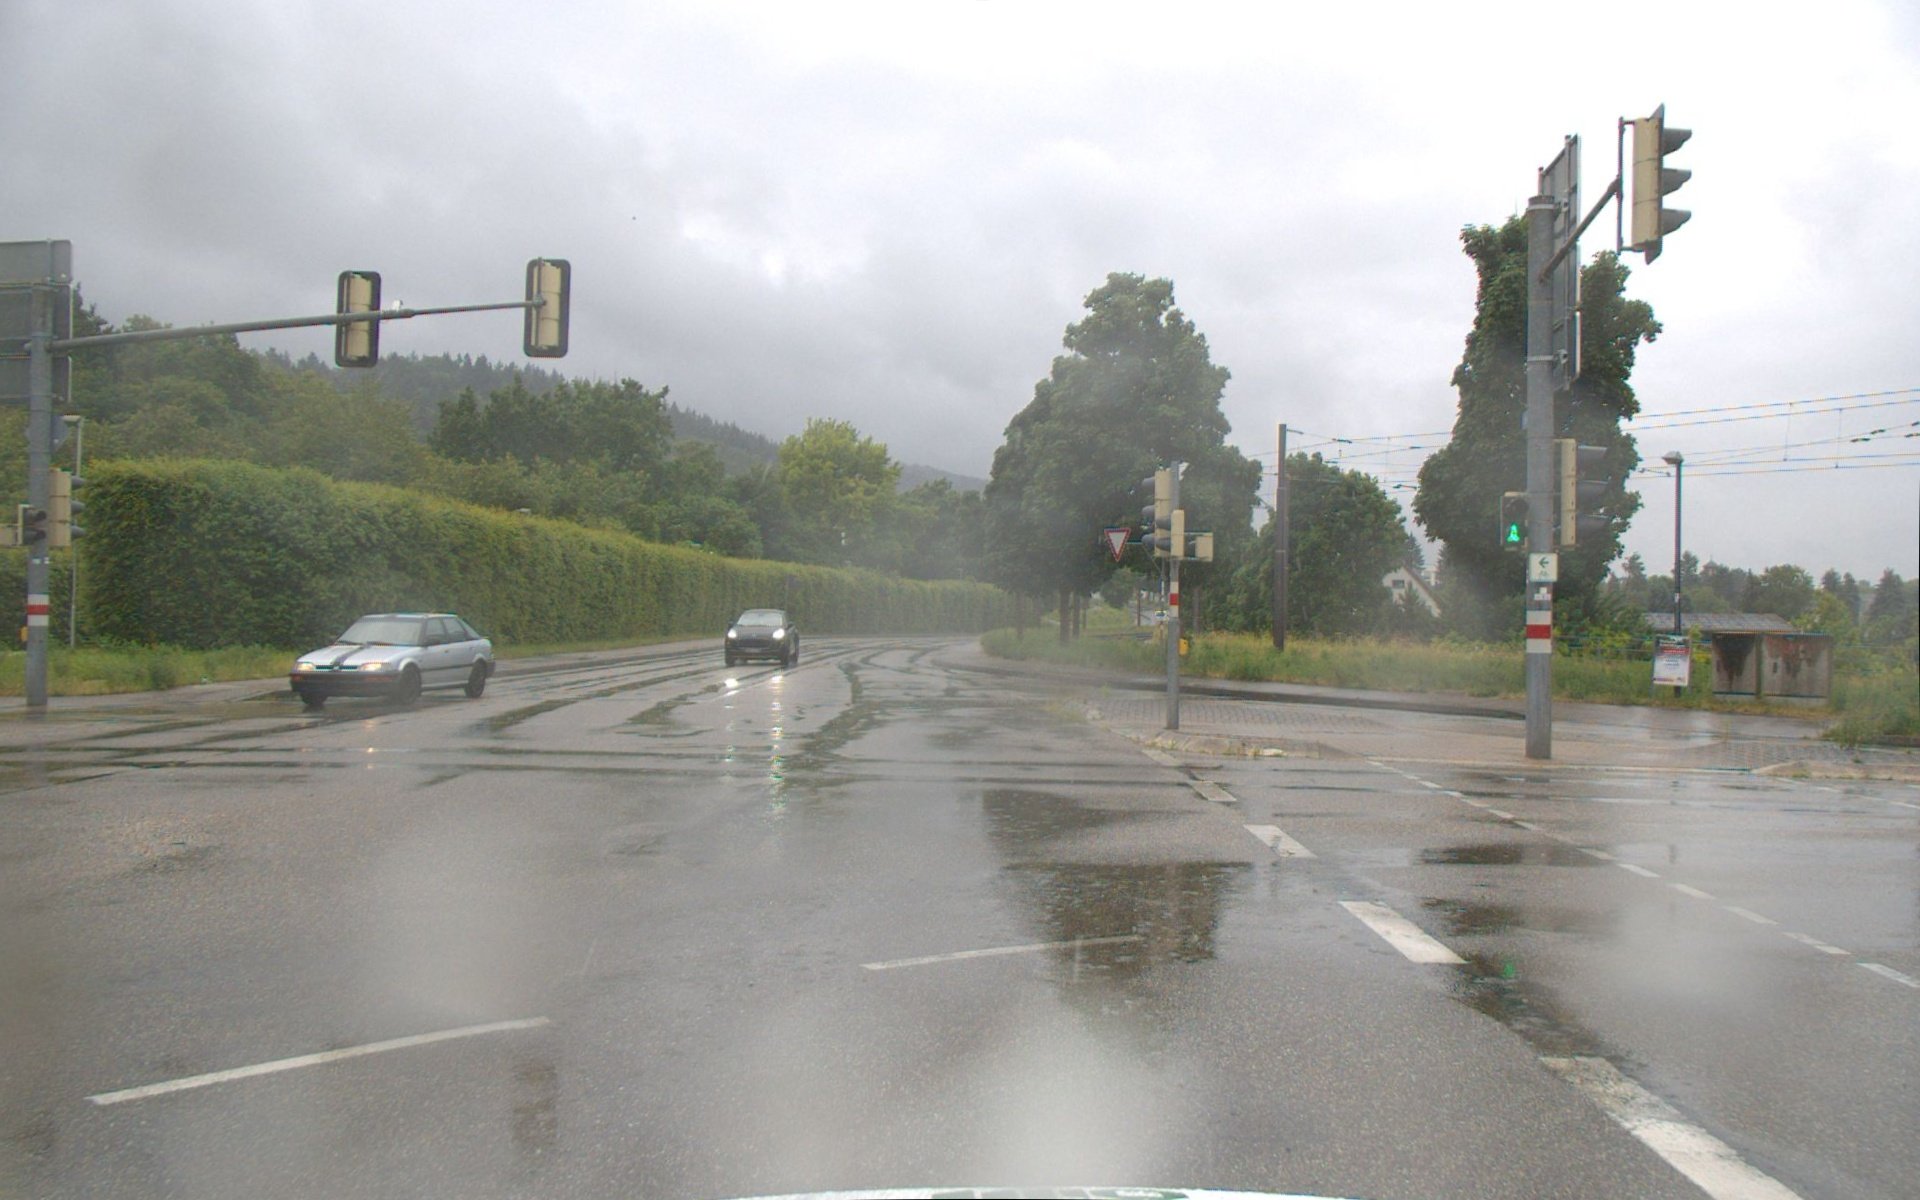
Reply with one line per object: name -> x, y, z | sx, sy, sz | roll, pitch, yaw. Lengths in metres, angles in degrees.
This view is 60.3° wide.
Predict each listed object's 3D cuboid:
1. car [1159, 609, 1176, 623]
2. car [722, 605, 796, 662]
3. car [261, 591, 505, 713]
car -> 29.683, 2.250, 236.375 | 1.912, 1.937, 4.123 | 0, 0, 13
car -> -5.673, 0.920, 47.099 | 1.749, 1.531, 4.059 | 1, 0, -2
car -> -8.997, 0.749, 26.188 | 1.993, 1.738, 4.069 | 1, 0, 8
